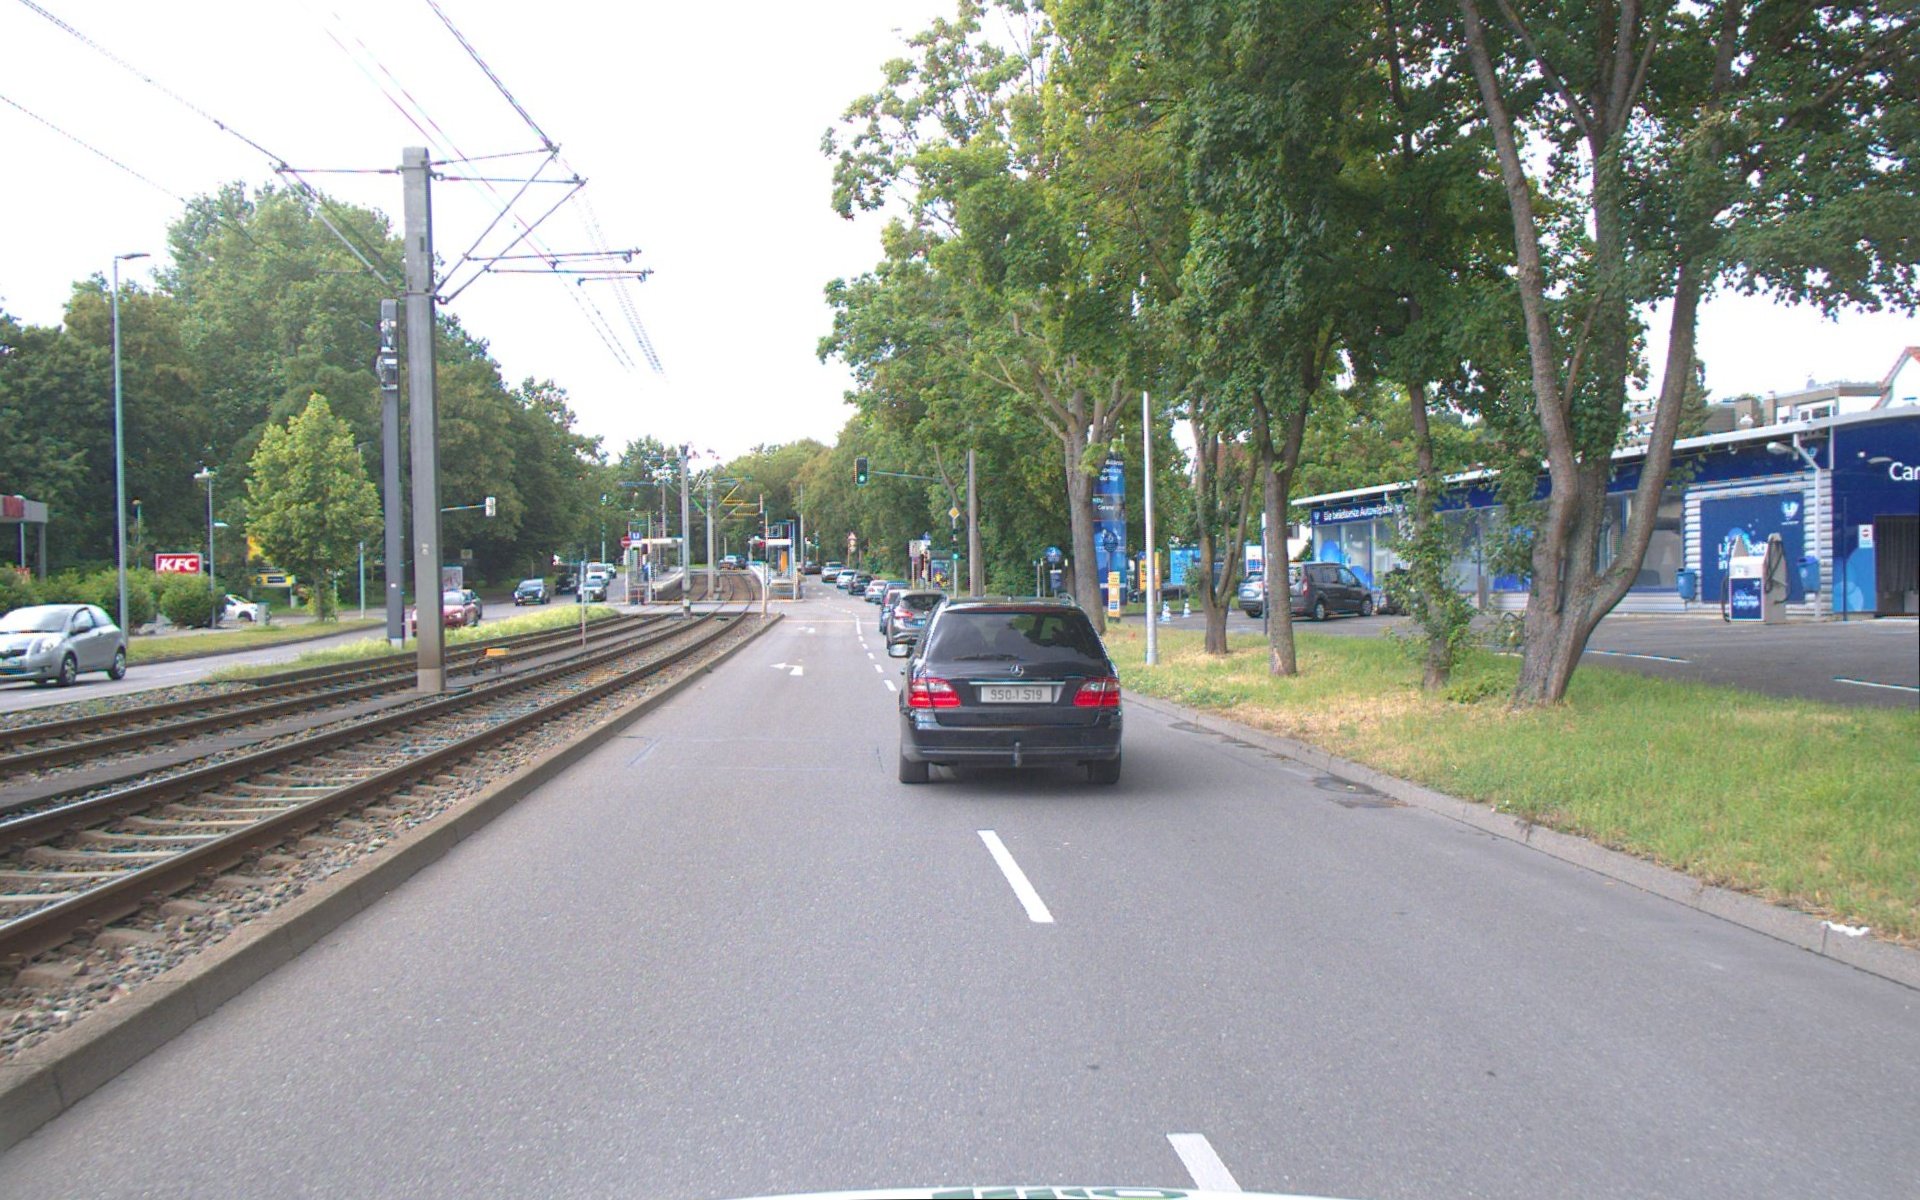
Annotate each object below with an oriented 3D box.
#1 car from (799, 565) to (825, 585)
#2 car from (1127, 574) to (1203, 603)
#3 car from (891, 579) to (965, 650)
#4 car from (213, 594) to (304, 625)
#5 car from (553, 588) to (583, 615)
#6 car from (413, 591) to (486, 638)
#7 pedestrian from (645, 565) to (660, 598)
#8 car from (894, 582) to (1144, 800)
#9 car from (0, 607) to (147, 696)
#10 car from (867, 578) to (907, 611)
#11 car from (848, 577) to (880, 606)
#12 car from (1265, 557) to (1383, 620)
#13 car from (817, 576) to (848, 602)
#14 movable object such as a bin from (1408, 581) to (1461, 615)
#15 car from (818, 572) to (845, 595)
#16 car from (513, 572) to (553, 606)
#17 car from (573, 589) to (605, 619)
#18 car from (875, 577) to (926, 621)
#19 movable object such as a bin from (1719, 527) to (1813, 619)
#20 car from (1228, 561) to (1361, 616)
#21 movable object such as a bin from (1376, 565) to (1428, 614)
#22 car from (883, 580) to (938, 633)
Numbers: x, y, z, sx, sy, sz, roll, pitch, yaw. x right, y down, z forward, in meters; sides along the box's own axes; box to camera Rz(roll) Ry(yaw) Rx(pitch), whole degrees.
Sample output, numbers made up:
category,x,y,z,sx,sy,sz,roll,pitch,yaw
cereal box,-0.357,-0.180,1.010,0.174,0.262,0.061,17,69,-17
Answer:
category,x,y,z,sx,sy,sz,roll,pitch,yaw
car,-15.904,-2.685,177.678,1.961,2.049,3.982,1,0,-16
car,11.595,-0.628,93.687,4.067,1.552,1.704,-1,0,0
car,-0.841,0.343,41.952,1.746,1.677,3.998,1,0,-2
car,-35.437,0.450,83.606,3.804,1.432,1.845,-2,1,-6
car,-31.446,0.088,132.775,1.957,2.049,4.099,-1,1,-9
car,-18.795,0.506,61.014,1.749,1.609,4.475,-3,1,-7
pedestrian,-20.934,-1.260,112.653,0.951,2.224,0.975,-1,1,-7
car,0.353,0.658,14.050,1.746,1.552,3.998,1,0,-3
car,-17.440,0.967,31.745,1.955,1.508,3.995,-3,1,-6
car,-4.426,-0.326,99.806,1.956,1.926,3.992,1,0,-8
car,-6.880,-0.583,118.018,1.956,2.001,3.992,1,0,-8
car,11.570,-0.377,52.452,1.720,1.853,4.358,-1,1,42
car,-10.356,-0.920,134.473,1.959,2.049,3.988,1,0,-12
movable object such as a bin,14.167,-0.065,49.395,1.137,0.993,1.186,-2,0,-9
car,-11.799,-1.522,152.166,1.958,2.049,3.988,1,0,-12
car,-26.808,-0.689,103.964,1.957,2.049,4.239,-1,1,-9
car,-24.000,0.234,106.965,1.665,1.893,3.993,1,0,-8
car,-2.806,-0.052,77.297,1.956,1.951,3.992,1,0,-8
movable object such as a bin,16.860,-0.563,34.631,1.137,1.850,1.453,-2,0,-9
car,11.429,-0.406,56.463,4.142,1.726,1.828,-2,1,-23
movable object such as a bin,14.031,-0.327,52.529,1.137,1.500,1.385,-2,0,-9
car,-1.682,0.194,55.853,1.746,1.677,3.998,1,0,-2
